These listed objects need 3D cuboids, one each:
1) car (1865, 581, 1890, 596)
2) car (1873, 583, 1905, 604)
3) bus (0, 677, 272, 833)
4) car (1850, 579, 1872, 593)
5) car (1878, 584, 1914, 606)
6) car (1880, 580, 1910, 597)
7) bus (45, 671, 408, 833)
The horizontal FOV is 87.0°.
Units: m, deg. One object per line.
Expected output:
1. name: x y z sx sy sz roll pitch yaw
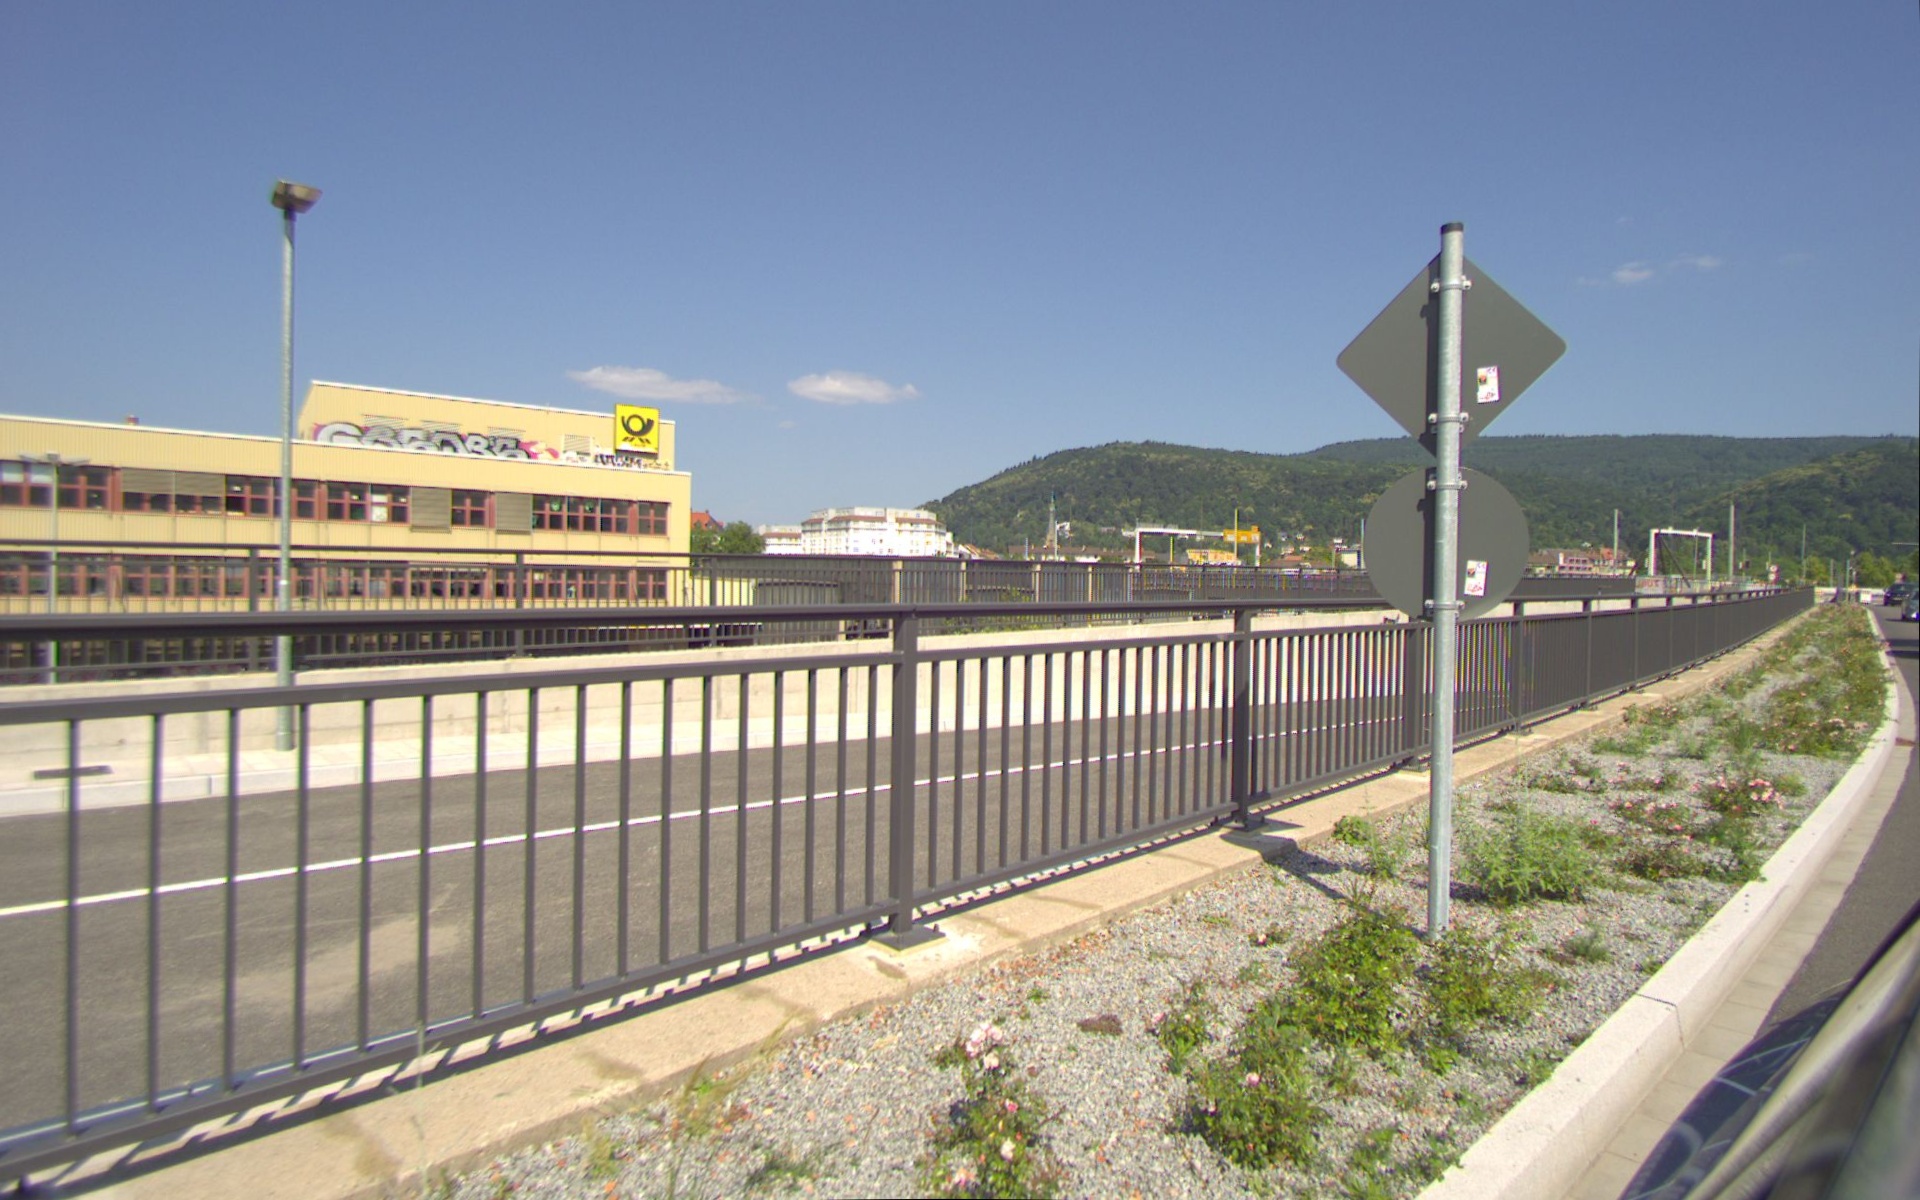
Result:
1. car: 91.685 -1.197 101.189 1.612 1.459 3.715 1 1 39
2. car: 68.661 -0.491 74.859 1.613 1.459 3.712 1 1 41
3. bus: -32.053 5.460 37.119 2.613 3.811 17.136 0 1 -2
4. car: 99.441 -1.527 111.741 1.612 1.459 3.715 1 1 39
5. car: 63.995 -0.338 69.242 1.612 1.459 3.714 1 1 40
6. car: 80.720 -1.001 87.395 1.612 1.459 3.715 1 1 39
7. bus: -28.566 5.547 41.560 2.614 3.811 17.481 0 1 -1
